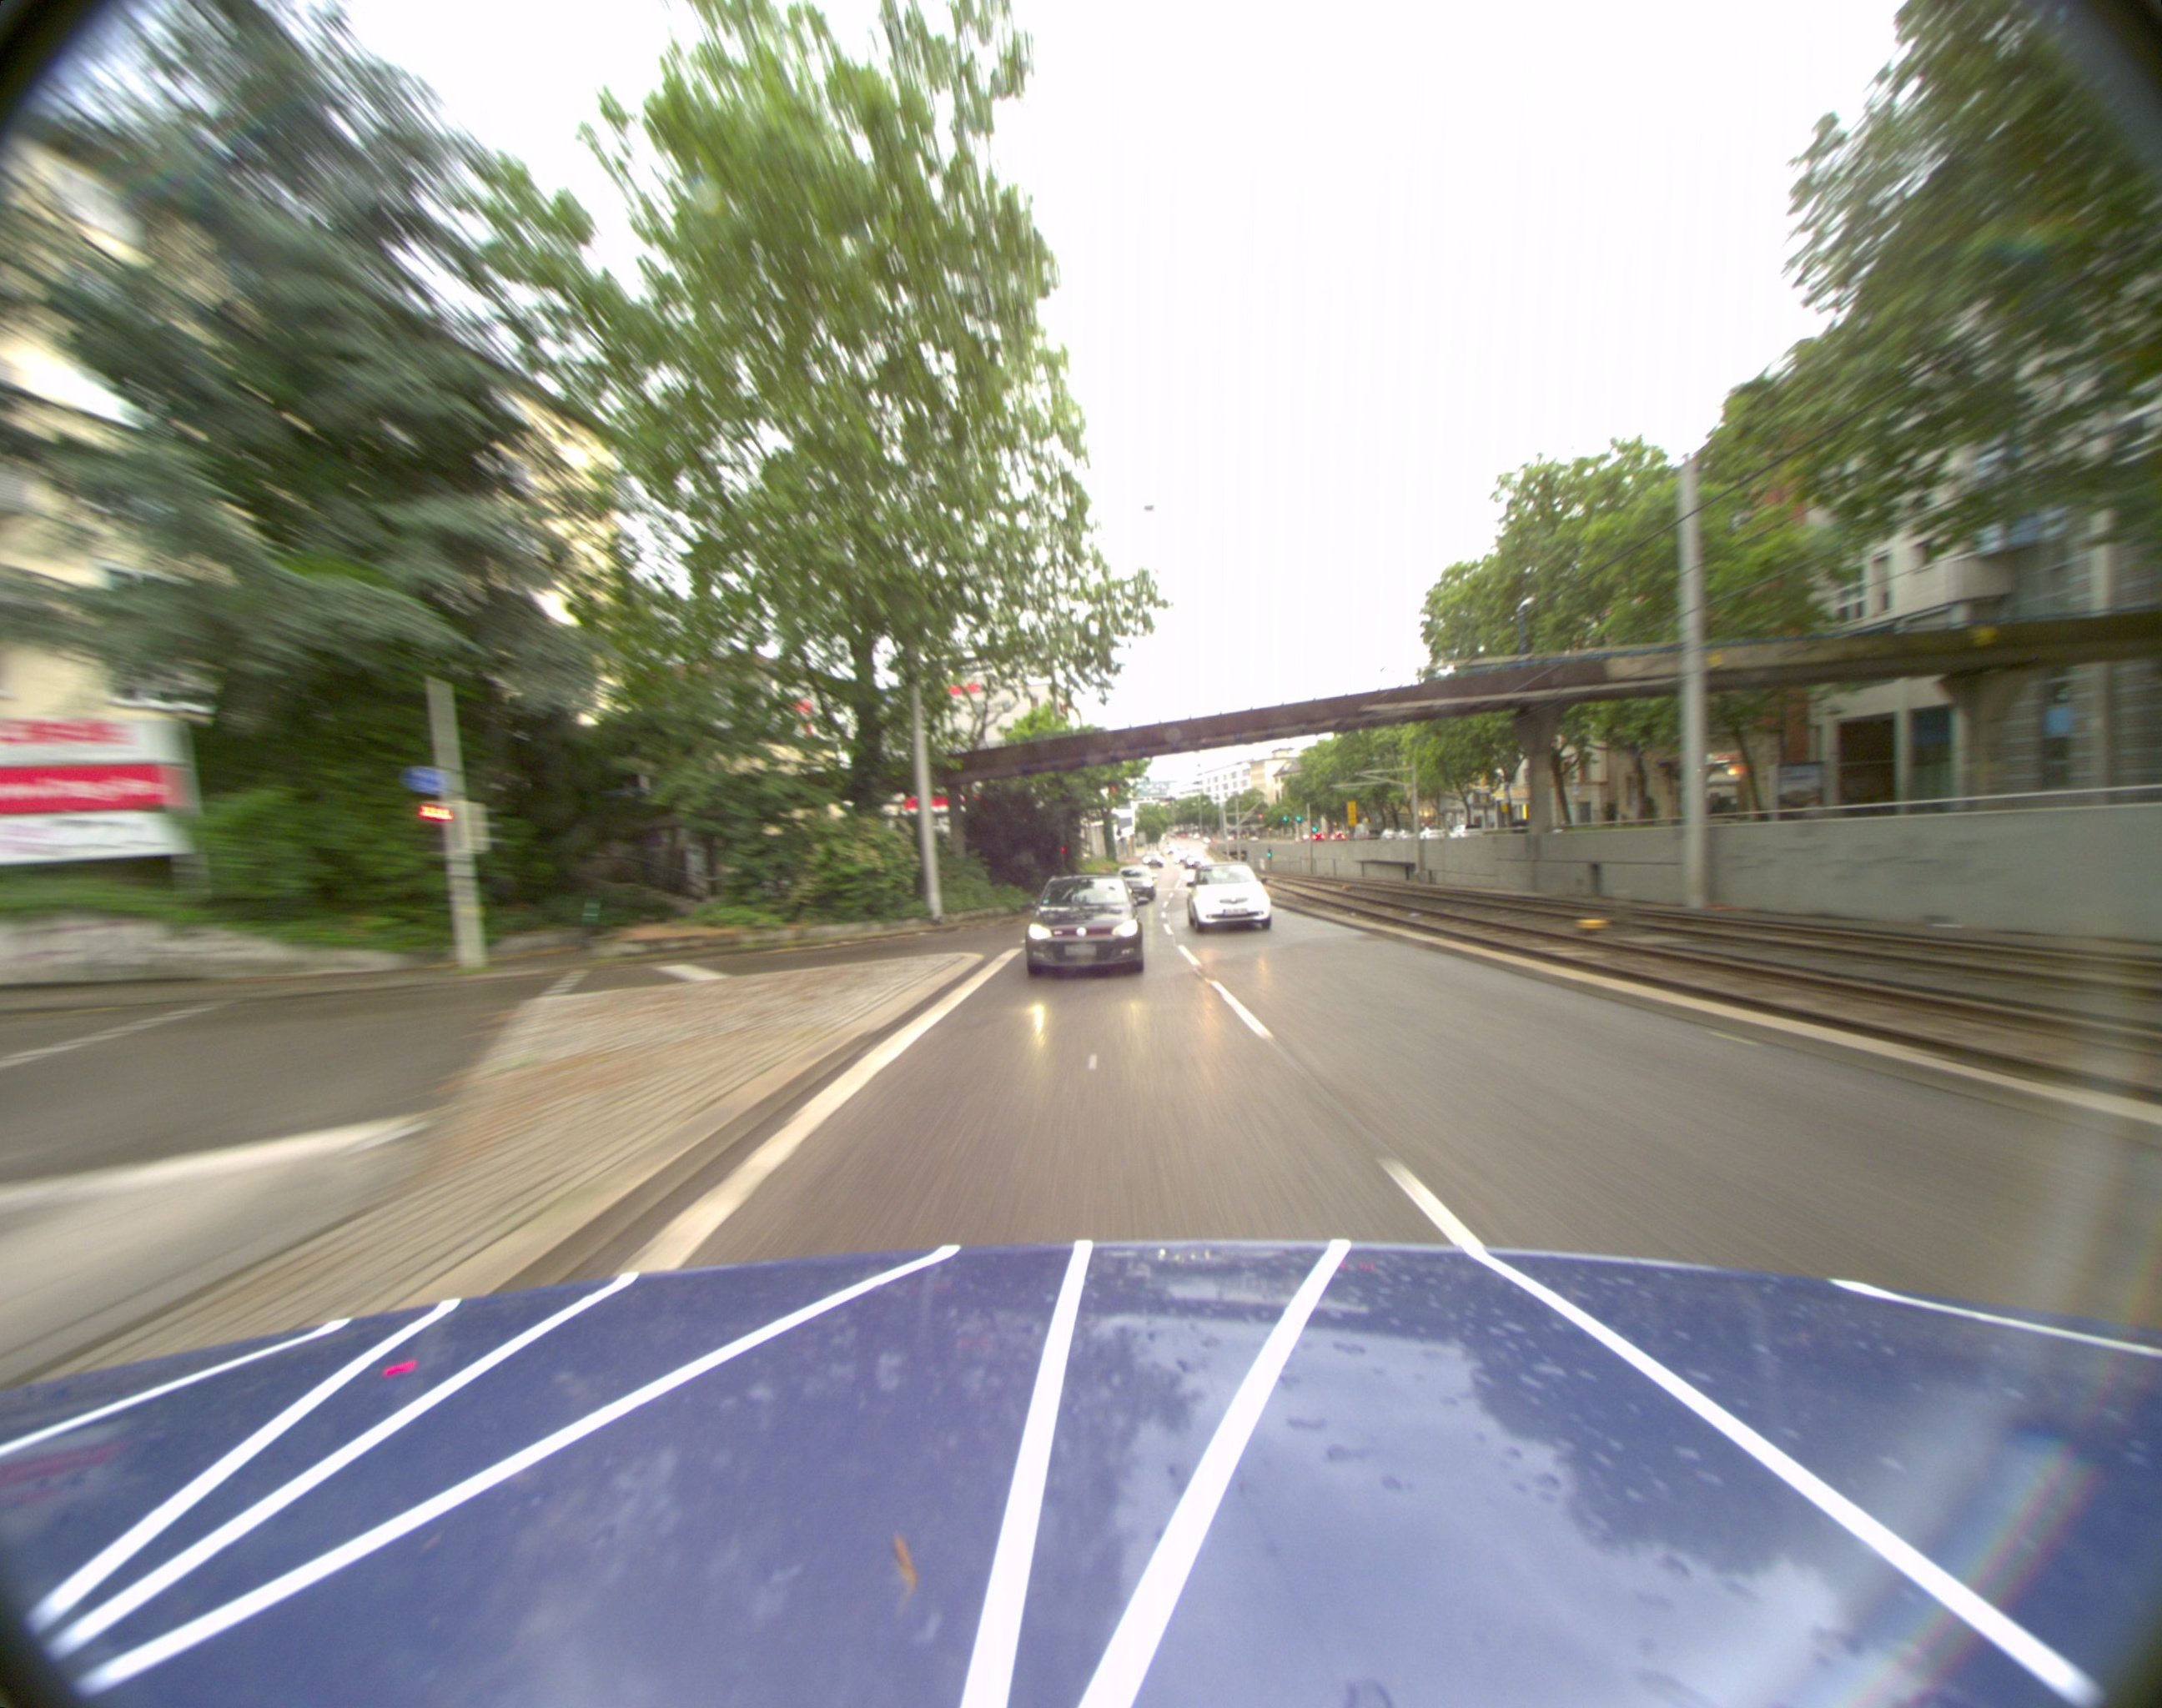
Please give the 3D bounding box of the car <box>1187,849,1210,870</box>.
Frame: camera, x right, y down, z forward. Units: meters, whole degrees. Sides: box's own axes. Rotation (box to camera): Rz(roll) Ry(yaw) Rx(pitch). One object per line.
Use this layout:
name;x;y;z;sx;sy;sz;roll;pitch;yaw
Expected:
car;10.387;0.472;67.372;1.798;1.502;4.001;-6;2;9

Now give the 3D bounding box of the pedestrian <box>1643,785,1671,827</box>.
pedestrian;29.049;-2.422;38.330;0.670;2.002;0.935;-6;2;13

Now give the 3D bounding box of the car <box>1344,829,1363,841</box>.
car;43.381;-2.980;121.016;1.880;1.754;4.903;-5;1;10

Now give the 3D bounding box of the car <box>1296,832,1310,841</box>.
car;40.357;-3.211;138.326;1.798;1.501;4.002;-5;1;9

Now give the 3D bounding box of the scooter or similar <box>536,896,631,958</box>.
scooter or similar;-11.330;1.628;17.385;0.601;1.211;1.921;-2;0;10

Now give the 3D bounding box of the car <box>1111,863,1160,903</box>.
car;2.441;1.238;33.396;1.749;1.433;3.708;0;3;10

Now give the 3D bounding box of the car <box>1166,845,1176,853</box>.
car;18.706;-1.048;157.554;1.798;1.502;4.000;-6;2;6

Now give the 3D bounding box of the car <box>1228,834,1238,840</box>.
car;45.695;-5.151;228.783;1.851;1.501;4.820;-5;1;-1

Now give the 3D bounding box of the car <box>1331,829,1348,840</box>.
car;38.688;-2.874;113.791;1.797;1.501;4.110;-5;1;11

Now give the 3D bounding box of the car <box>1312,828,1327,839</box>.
car;44.365;-3.810;141.250;1.959;1.842;4.971;-5;1;12

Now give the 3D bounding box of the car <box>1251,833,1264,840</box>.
car;47.078;-4.614;202.695;2.031;1.501;4.882;-5;1;1

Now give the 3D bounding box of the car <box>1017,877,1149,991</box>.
car;0.133;1.120;11.968;1.677;1.391;3.850;-3;-1;3

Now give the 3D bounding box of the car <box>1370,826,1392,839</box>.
car;39.841;-2.892;100.906;1.797;1.501;4.674;-5;1;11

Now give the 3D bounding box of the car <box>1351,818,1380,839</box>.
car;40.759;-3.586;108.982;2.457;2.647;6.935;-5;1;11

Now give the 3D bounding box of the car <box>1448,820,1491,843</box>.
car;30.802;-1.751;60.319;1.797;1.602;4.114;-5;1;10

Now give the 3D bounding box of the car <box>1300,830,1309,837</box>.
car;54.021;-4.932;183.693;1.849;1.501;4.019;-5;1;13

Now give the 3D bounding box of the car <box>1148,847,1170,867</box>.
car;7.571;0.263;73.517;1.798;1.657;4.001;-6;2;9

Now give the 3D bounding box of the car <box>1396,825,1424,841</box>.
car;35.339;-2.286;81.756;1.797;1.501;4.210;-5;1;11

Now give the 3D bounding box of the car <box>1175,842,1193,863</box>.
car;11.350;-0.164;83.655;1.798;2.021;4.001;-6;2;9

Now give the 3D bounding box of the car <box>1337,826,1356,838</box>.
car;45.218;-3.762;129.393;1.881;1.754;4.902;-5;1;7

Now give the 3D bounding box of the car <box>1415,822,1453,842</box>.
car;33.167;-2.058;71.561;1.930;1.592;5.202;-5;1;11

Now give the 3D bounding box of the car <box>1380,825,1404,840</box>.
car;37.721;-2.627;92.178;1.797;1.562;4.210;-5;1;11

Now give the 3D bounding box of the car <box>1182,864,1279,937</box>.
car;3.483;1.051;18.350;1.798;1.527;4.002;-2;-1;4
